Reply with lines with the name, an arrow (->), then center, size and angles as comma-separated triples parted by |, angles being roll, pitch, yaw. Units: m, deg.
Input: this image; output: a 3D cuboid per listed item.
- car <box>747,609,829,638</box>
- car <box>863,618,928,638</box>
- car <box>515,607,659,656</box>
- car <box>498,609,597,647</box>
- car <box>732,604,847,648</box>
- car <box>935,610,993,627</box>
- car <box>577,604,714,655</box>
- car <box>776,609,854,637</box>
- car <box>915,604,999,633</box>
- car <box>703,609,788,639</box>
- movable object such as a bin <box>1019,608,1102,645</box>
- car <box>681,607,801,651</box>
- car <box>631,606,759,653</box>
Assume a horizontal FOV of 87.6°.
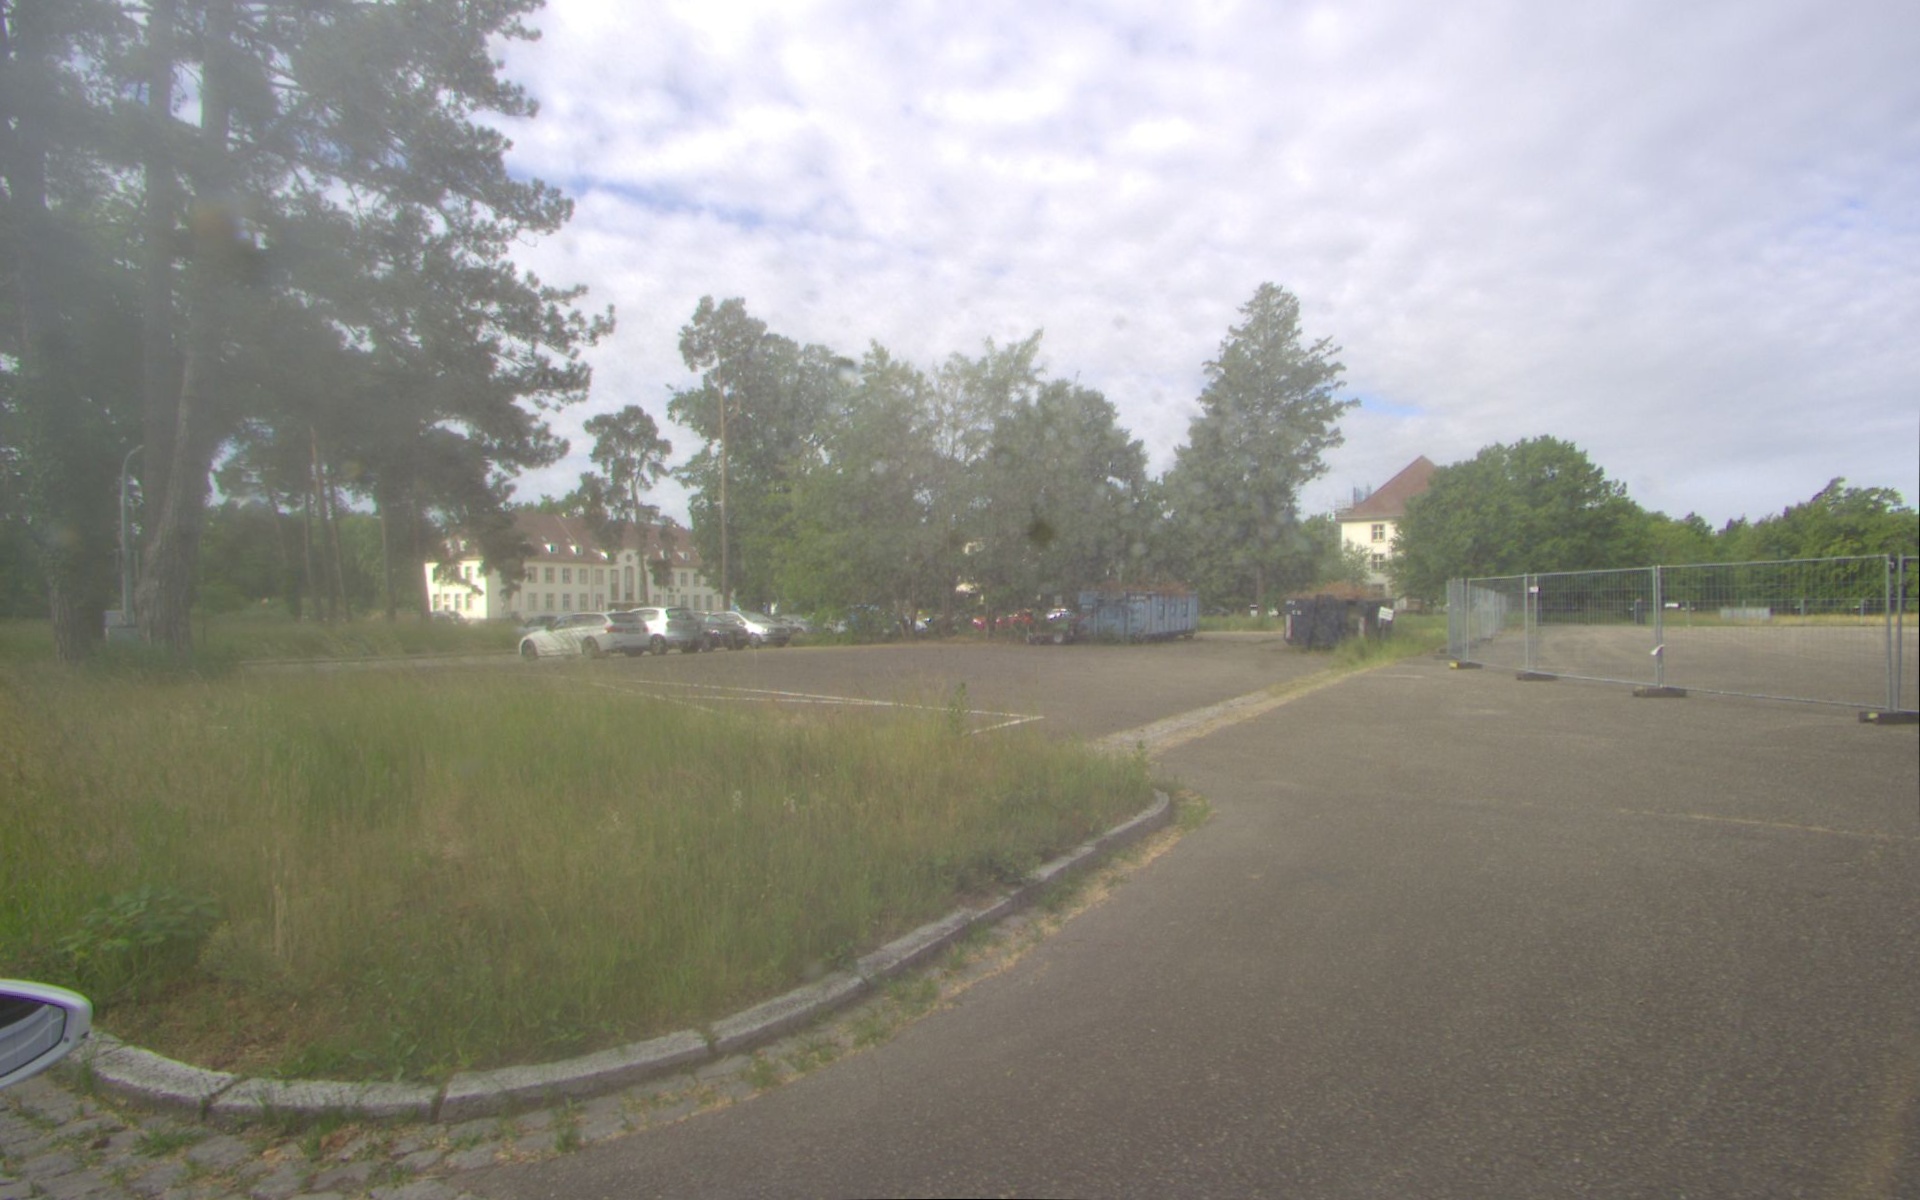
car -> -9.638, 1.290, 56.155 | 4.378, 1.544, 1.751 | 0, 0, 28
car -> -4.190, 1.805, 65.113 | 3.940, 1.225, 1.655 | -1, 0, 30
car -> -11.649, 0.968, 31.230 | 4.379, 1.434, 1.751 | -1, 0, 28
car -> -17.960, 1.200, 43.540 | 4.384, 1.544, 1.748 | -1, 0, 33
car -> -6.952, 1.042, 40.786 | 4.378, 1.708, 1.865 | 0, 0, 28
car -> 0.264, 1.333, 73.310 | 3.933, 1.225, 1.658 | -1, 0, 23
car -> -10.563, 0.958, 33.591 | 4.378, 1.598, 1.865 | 0, 0, 28
car -> -8.565, 1.336, 59.027 | 4.378, 1.544, 1.751 | 0, 0, 28
car -> -0.183, 1.021, 55.939 | 4.378, 1.598, 1.865 | -1, 0, 28
car -> -11.564, 1.264, 53.960 | 4.378, 1.544, 1.751 | 0, 0, 28
movable object such as a bin -> 3.266, 0.847, 32.606 | 2.504, 1.098, 1.060 | 1, 1, 30
car -> -8.454, 1.086, 38.585 | 4.378, 1.598, 1.865 | 0, 0, 28
car -> -9.509, 1.012, 35.897 | 4.378, 1.598, 1.865 | 0, 0, 28
